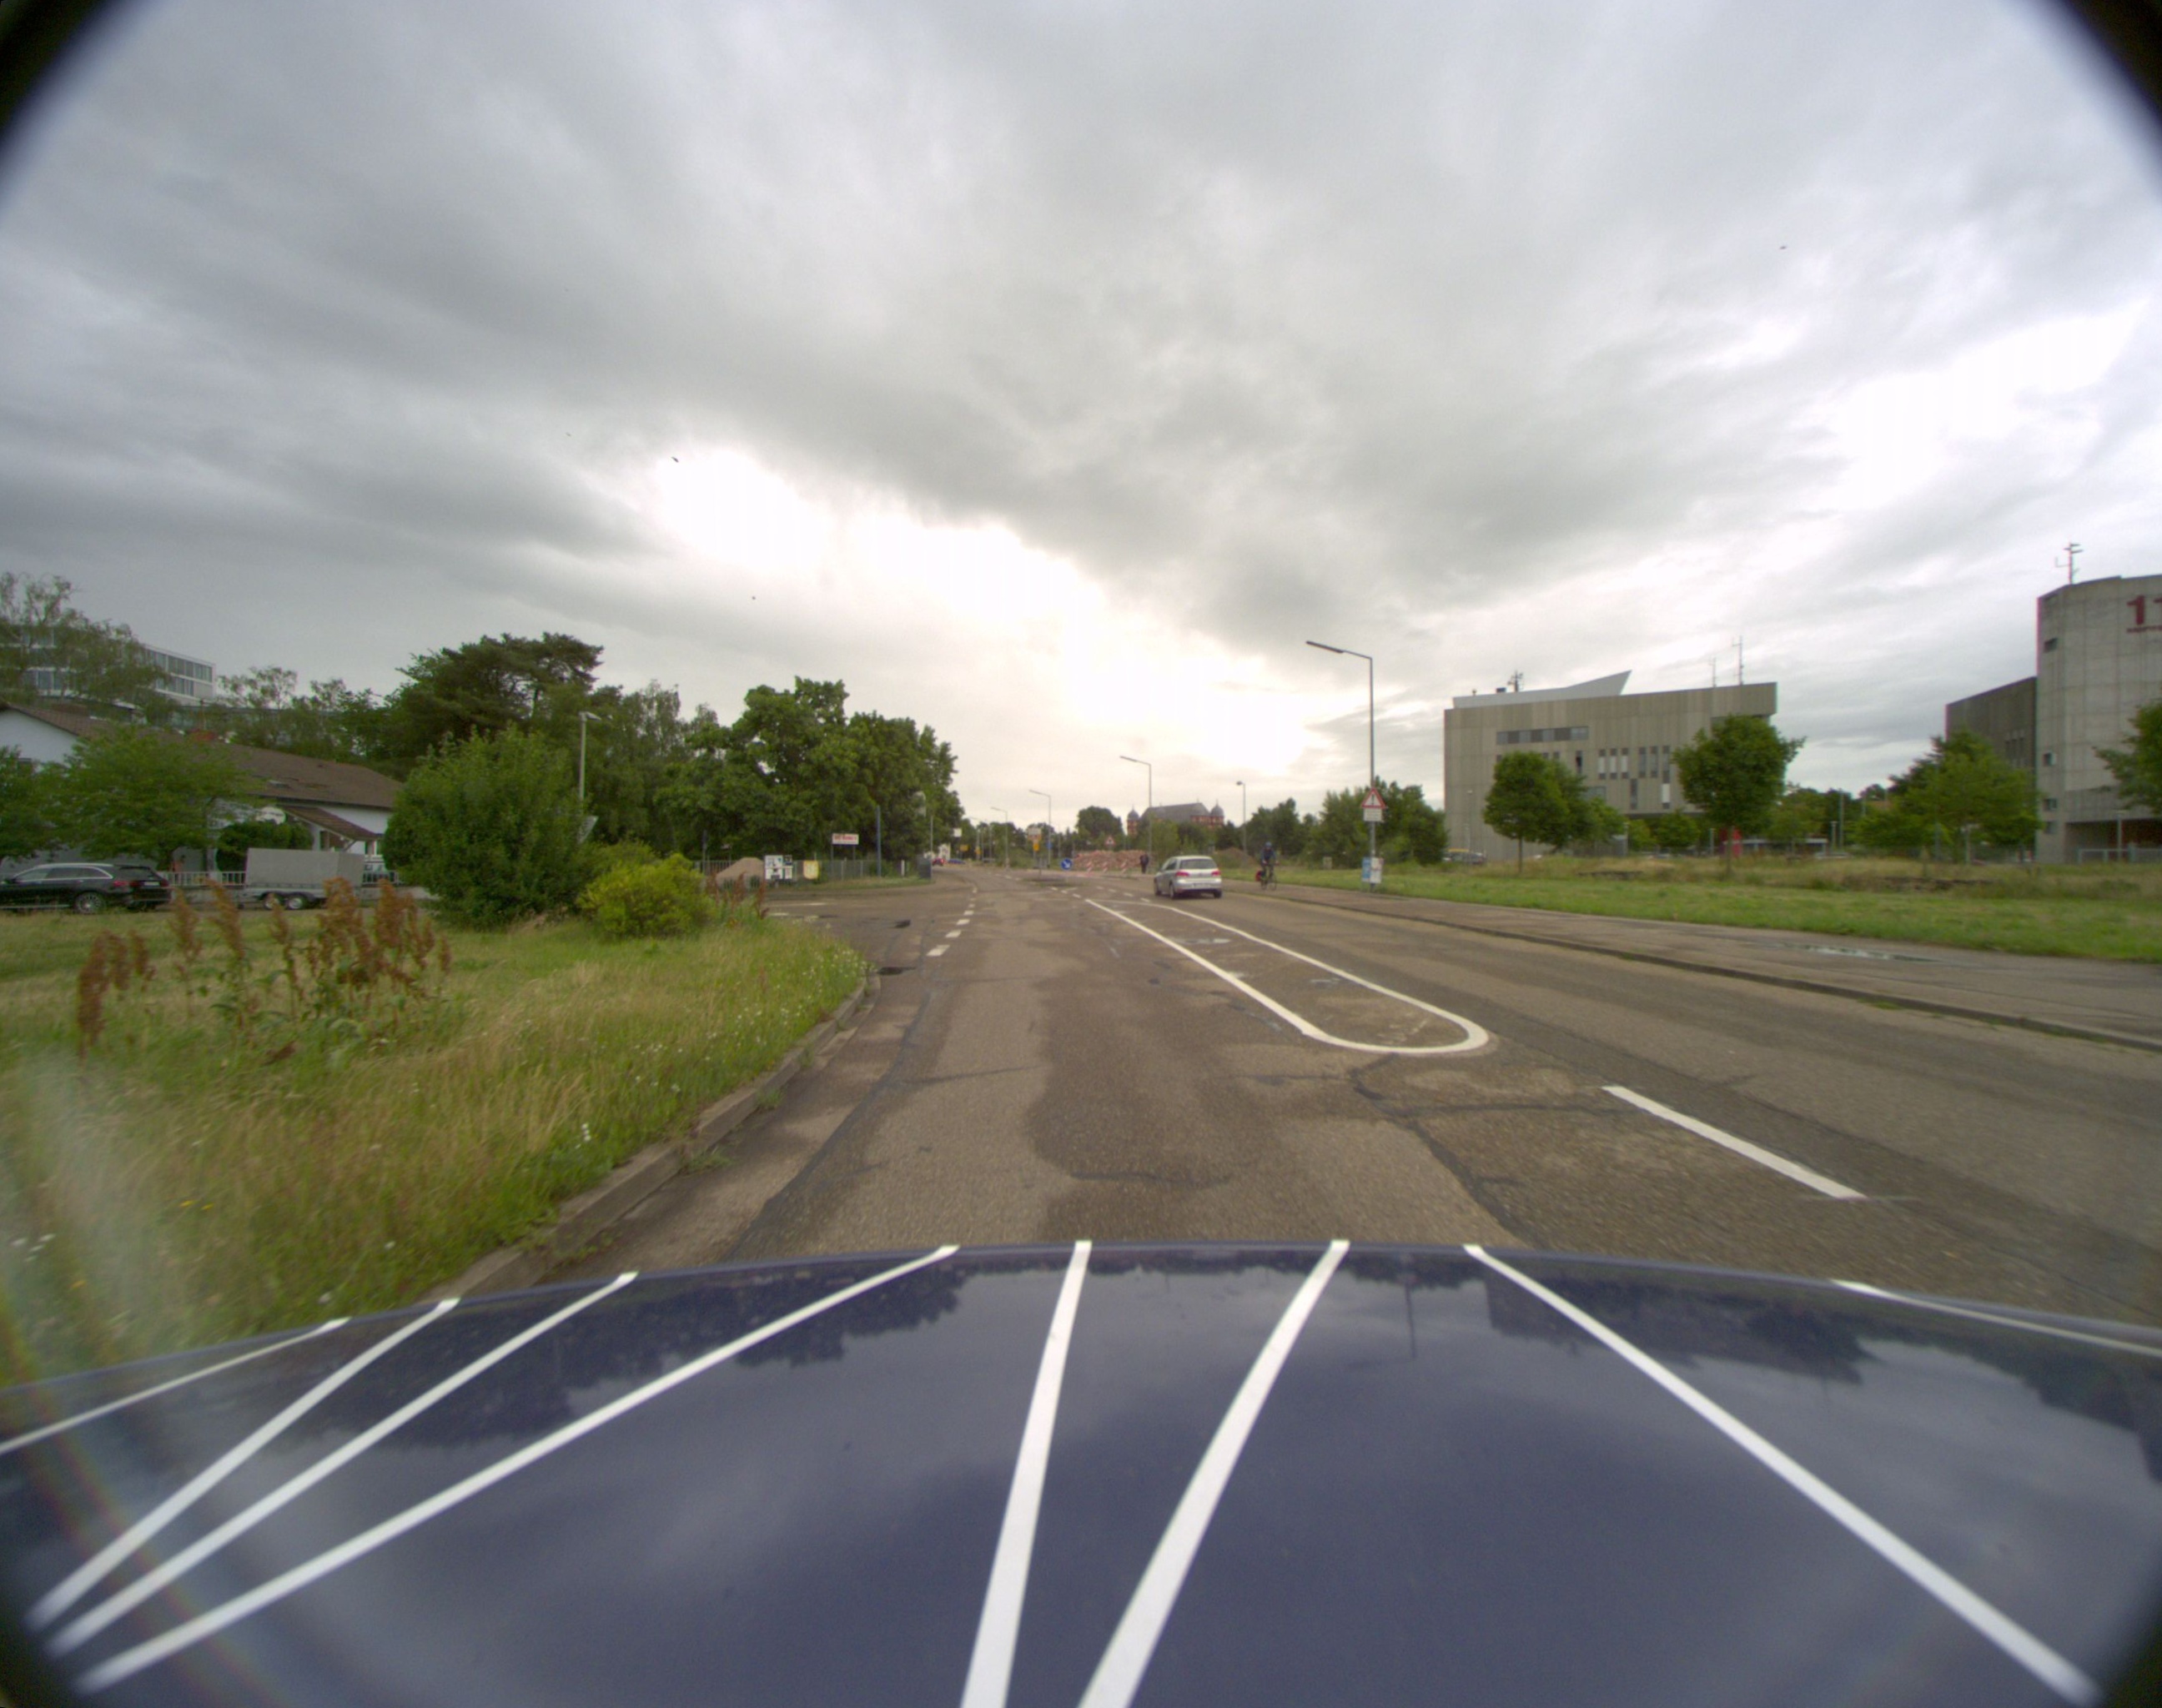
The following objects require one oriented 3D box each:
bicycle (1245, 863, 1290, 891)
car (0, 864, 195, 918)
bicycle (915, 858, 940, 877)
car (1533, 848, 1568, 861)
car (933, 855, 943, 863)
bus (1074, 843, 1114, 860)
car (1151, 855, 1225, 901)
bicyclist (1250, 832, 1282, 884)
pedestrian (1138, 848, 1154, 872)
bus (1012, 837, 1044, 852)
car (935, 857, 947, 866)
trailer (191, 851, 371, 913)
[{"bbox_3d":[7.356,0.899,30.086,0.886,1.046,2.468,0,-1,-7],"label":"bicycle"},{"bbox_3d":[-32.277,1.157,24.426,4.596,1.630,1.998,0,-1,-15],"label":"car"},{"bbox_3d":[-8.960,0.773,44.461,0.797,1.104,1.953,0,0,9],"label":"bicycle"},{"bbox_3d":[63.453,0.029,102.772,3.878,1.751,1.731,-1,0,27],"label":"car"},{"bbox_3d":[-31.673,1.130,167.929,1.758,1.578,3.896,2,0,-15],"label":"car"},{"bbox_3d":[3.204,-0.606,187.768,9.863,3.958,2.740,-1,-1,32],"label":"bus"},{"bbox_3d":[3.744,0.813,27.241,1.677,1.453,4.054,-2,0,-6],"label":"car"},{"bbox_3d":[7.338,0.169,30.150,0.864,2.001,1.177,0,0,-7],"label":"bicyclist"},{"bbox_3d":[4.885,0.456,56.964,0.847,1.772,1.076,0,0,-16],"label":"pedestrian"},{"bbox_3d":[-13.799,-2.358,198.282,8.375,3.626,2.740,-1,-1,32],"label":"bus"},{"bbox_3d":[-25.704,1.338,139.411,1.888,1.557,4.353,0,-1,-13],"label":"car"},{"bbox_3d":[-27.414,0.928,26.181,4.001,2.001,1.641,0,0,-15],"label":"trailer"}]
